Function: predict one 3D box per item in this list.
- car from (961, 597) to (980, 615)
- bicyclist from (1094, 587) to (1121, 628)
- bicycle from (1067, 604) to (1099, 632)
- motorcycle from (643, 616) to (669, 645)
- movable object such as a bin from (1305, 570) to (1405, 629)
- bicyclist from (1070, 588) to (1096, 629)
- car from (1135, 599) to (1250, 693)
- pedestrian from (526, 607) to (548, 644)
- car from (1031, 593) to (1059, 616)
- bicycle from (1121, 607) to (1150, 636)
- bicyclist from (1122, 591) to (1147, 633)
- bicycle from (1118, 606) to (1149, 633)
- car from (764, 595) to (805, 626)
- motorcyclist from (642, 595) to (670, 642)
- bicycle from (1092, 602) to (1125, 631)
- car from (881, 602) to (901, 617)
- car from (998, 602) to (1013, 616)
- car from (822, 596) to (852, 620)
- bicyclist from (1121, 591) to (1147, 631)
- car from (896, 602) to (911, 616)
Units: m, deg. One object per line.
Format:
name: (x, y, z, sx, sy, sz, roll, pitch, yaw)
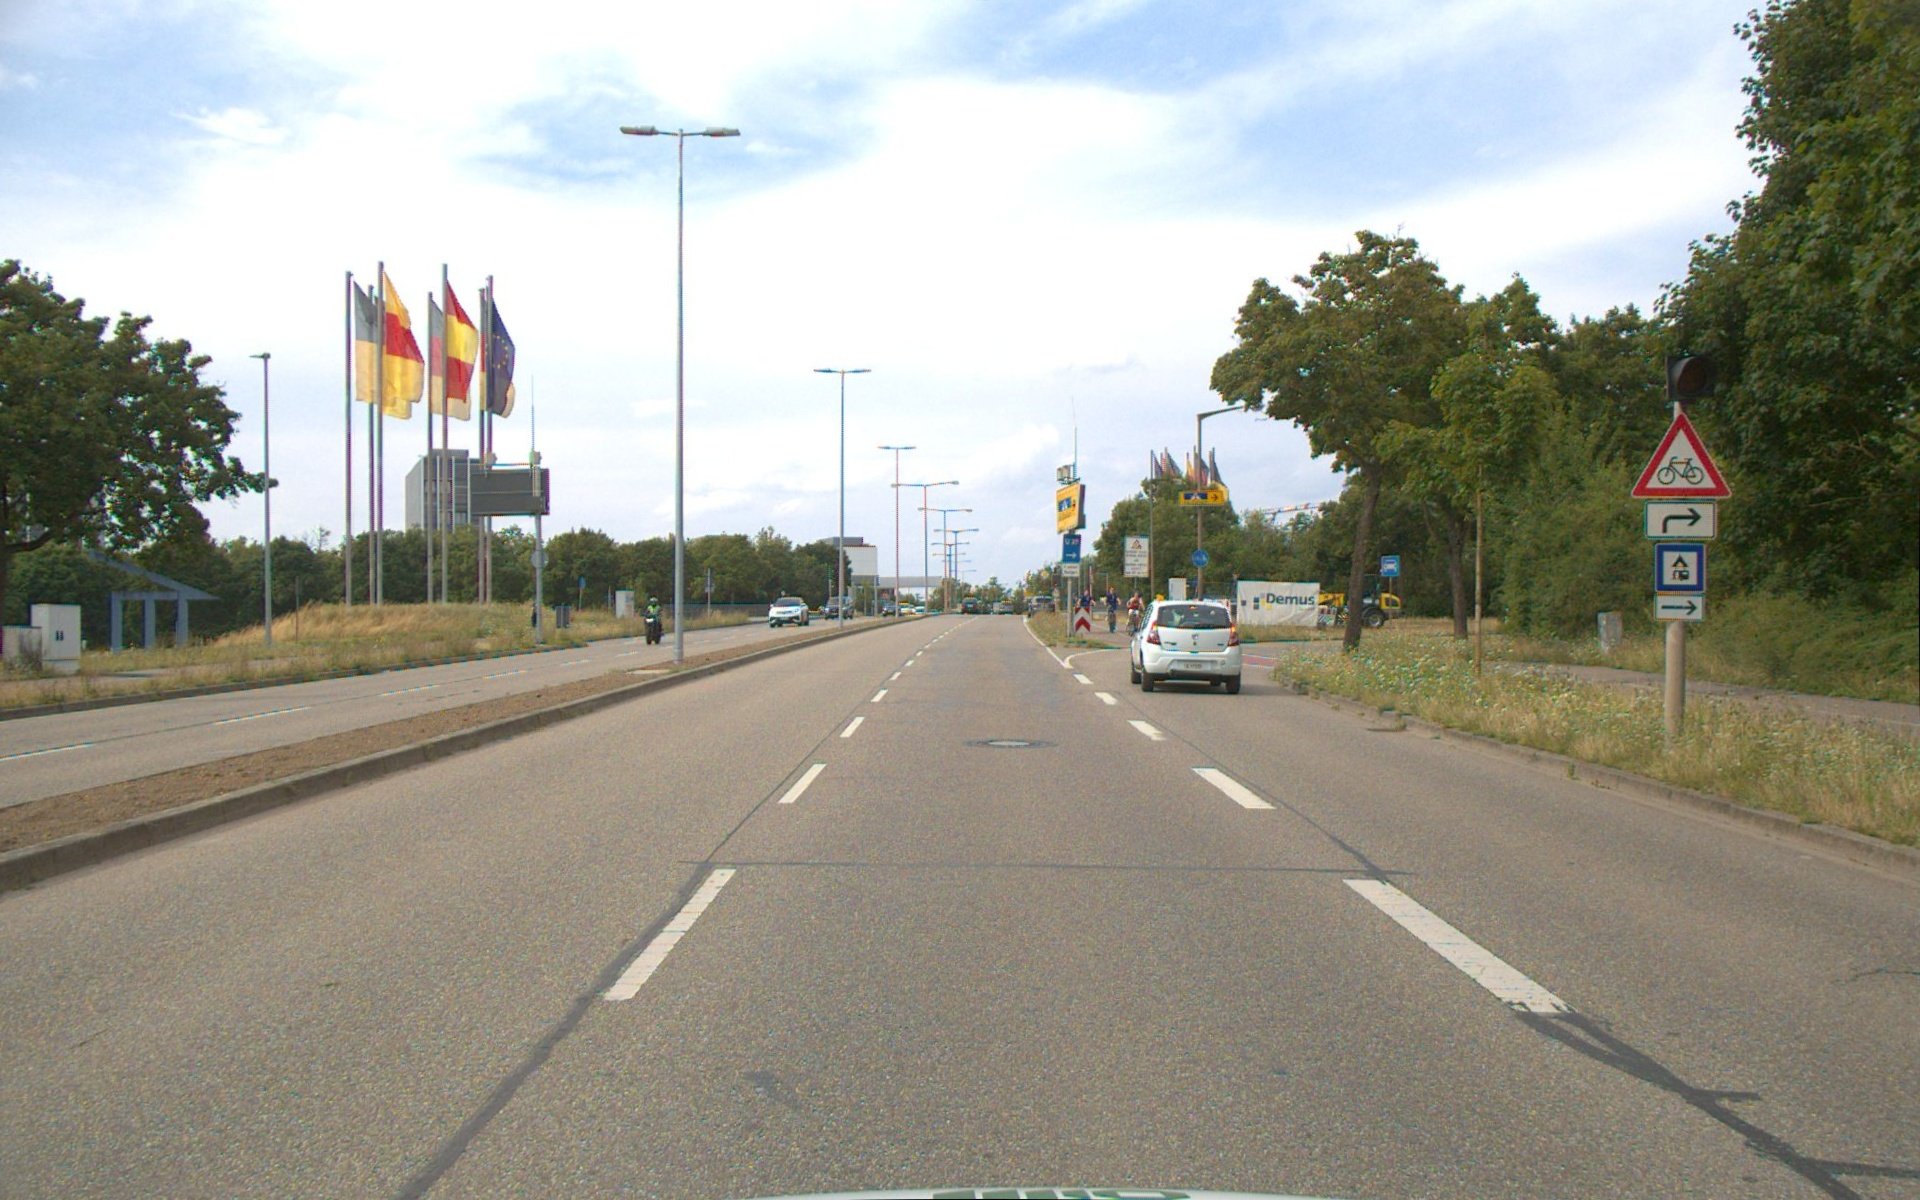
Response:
car: (1.063, 0.576, 163.226, 1.694, 1.682, 4.115, 0, -1, 2)
bicyclist: (5.639, 0.295, 63.253, 0.728, 1.545, 0.955, 1, -1, -14)
bicycle: (4.664, 0.674, 62.705, 0.609, 1.023, 2.096, 3, 0, -12)
motorcycle: (-10.746, 1.076, 58.494, 0.512, 0.984, 2.219, -1, 0, 0)
movable object such as a bin: (19.023, -0.010, 79.783, 4.406, 2.736, 2.103, 1, -1, 6)
bicyclist: (4.667, 0.314, 62.755, 0.728, 1.545, 0.955, 1, -1, -13)
car: (4.012, 0.759, 29.081, 1.808, 1.528, 4.002, -1, 0, 5)
pedestrian: (-20.367, 1.229, 79.673, 0.847, 1.722, 0.679, -2, 0, 0)
car: (6.325, 0.349, 123.717, 1.696, 1.682, 4.112, 1, -1, -3)
bicycle: (6.403, 0.798, 60.375, 0.608, 1.023, 1.784, -2, 0, -7)
bicyclist: (6.375, 0.436, 60.396, 0.726, 1.499, 0.804, 1, -1, -7)
bicycle: (6.653, 0.755, 63.350, 0.609, 1.023, 1.781, -2, -1, -13)
car: (-9.974, 0.600, 94.199, 1.809, 1.629, 4.561, -1, 1, 0)
motorcyclist: (-10.747, 0.644, 58.499, 0.754, 1.616, 0.896, -2, 0, 0)
bicycle: (5.654, 0.624, 63.189, 0.585, 1.055, 2.188, 3, 0, -12)
car: (-7.225, 0.968, 174.123, 1.727, 1.466, 4.178, -2, 0, 1)
car: (5.450, 1.071, 198.132, 1.695, 1.553, 4.115, 1, -1, 0)
car: (-10.500, 0.675, 141.559, 1.809, 1.927, 5.506, -3, 0, 3)
bicyclist: (6.673, 0.427, 63.351, 0.728, 1.513, 0.955, 1, -1, -13)
car: (-6.803, 1.121, 198.239, 1.516, 1.605, 3.691, -2, 0, 1)
